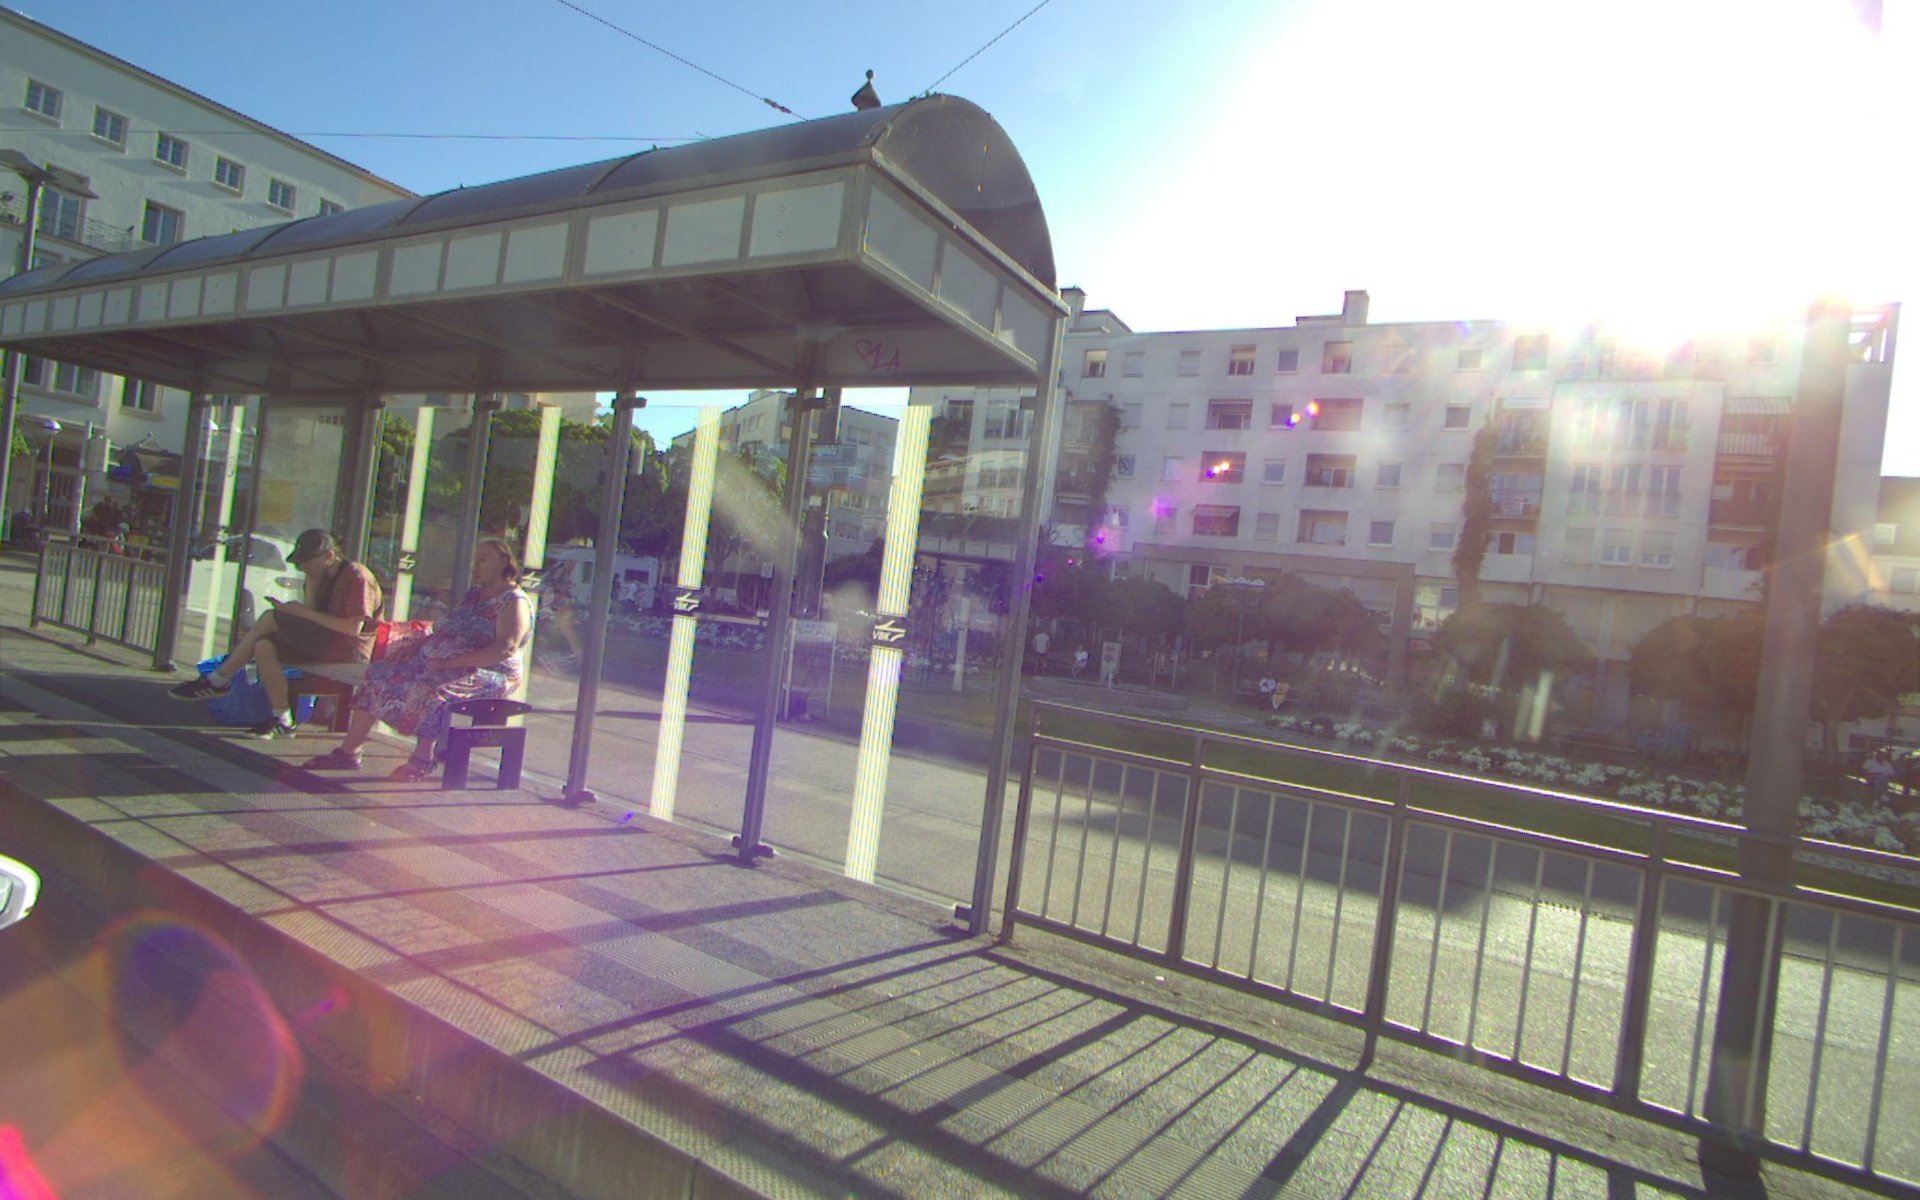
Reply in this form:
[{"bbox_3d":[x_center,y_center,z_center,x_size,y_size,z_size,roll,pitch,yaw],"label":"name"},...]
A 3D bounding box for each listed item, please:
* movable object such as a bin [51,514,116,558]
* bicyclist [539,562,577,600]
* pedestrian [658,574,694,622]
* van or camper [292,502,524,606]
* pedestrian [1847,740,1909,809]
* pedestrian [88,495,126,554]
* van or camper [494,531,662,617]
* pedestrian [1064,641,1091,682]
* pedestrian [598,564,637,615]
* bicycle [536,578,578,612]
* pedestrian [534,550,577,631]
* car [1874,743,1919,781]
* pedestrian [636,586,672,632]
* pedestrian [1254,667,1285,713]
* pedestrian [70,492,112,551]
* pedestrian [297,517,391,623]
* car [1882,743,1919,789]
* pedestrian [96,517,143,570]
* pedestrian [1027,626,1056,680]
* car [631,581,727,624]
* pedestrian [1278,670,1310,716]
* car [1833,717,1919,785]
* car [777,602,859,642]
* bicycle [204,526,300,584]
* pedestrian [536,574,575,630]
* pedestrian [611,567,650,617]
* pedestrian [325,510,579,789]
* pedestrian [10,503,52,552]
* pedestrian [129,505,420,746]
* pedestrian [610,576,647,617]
[{"bbox_3d":[-28.130,-2.042,32.300,1.197,1.167,1.200,7,-1,32],"label":"movable object such as a bin"},{"bbox_3d":[-14.987,-0.697,37.496,0.937,1.239,0.933,8,-2,-6],"label":"bicyclist"},{"bbox_3d":[-10.261,-0.063,36.371,0.651,1.605,0.902,7,0,35],"label":"pedestrian"},{"bbox_3d":[-20.404,-1.614,37.680,2.331,2.780,7.132,9,0,32],"label":"van or camper"},{"bbox_3d":[21.664,4.100,23.764,0.923,1.428,1.521,7,-1,42],"label":"pedestrian"},{"bbox_3d":[-28.603,-2.541,33.738,0.649,1.861,0.653,7,0,35],"label":"pedestrian"},{"bbox_3d":[-16.486,-1.040,43.827,2.340,2.873,6.411,7,-1,35],"label":"van or camper"},{"bbox_3d":[4.078,2.119,34.831,0.718,1.287,1.042,7,0,11],"label":"pedestrian"},{"bbox_3d":[-12.141,-0.368,35.694,0.684,1.705,0.902,7,0,35],"label":"pedestrian"},{"bbox_3d":[-15.100,-0.174,37.739,0.708,1.073,2.323,8,-2,-5],"label":"bicycle"},{"bbox_3d":[-9.331,-0.222,23.219,0.520,1.765,0.557,6,-1,42],"label":"pedestrian"},{"bbox_3d":[39.785,6.786,40.639,3.941,1.303,1.993,7,-1,38],"label":"car"},{"bbox_3d":[-11.558,0.339,38.008,0.651,1.604,0.902,7,0,35],"label":"pedestrian"},{"bbox_3d":[9.616,2.789,31.275,0.718,1.287,0.745,7,0,11],"label":"pedestrian"},{"bbox_3d":[-29.427,-2.643,34.081,0.667,1.861,0.785,7,0,35],"label":"pedestrian"},{"bbox_3d":[-12.006,-0.582,19.625,1.110,1.900,0.983,6,-1,29],"label":"pedestrian"},{"bbox_3d":[36.590,6.335,36.775,3.941,1.535,1.993,7,-1,38],"label":"car"},{"bbox_3d":[-25.213,-1.696,30.178,0.742,1.427,0.731,11,1,32],"label":"pedestrian"},{"bbox_3d":[2.817,1.826,34.681,0.661,1.745,1.028,7,0,11],"label":"pedestrian"},{"bbox_3d":[-13.881,0.132,49.834,1.974,1.529,3.982,6,-3,43],"label":"car"},{"bbox_3d":[10.327,2.862,31.131,0.718,1.287,0.745,7,0,11],"label":"pedestrian"},{"bbox_3d":[43.926,7.094,45.230,6.284,2.585,2.813,7,-1,26],"label":"car"},{"bbox_3d":[-6.720,1.075,47.897,1.964,1.503,4.000,7,-1,23],"label":"car"},{"bbox_3d":[-23.523,-1.475,33.477,0.714,1.548,2.391,7,-3,31],"label":"bicycle"},{"bbox_3d":[-9.110,0.052,22.662,0.550,1.182,0.469,6,-2,40],"label":"pedestrian"},{"bbox_3d":[-11.341,-0.264,34.606,0.651,1.605,0.902,7,0,35],"label":"pedestrian"},{"bbox_3d":[-2.718,0.285,5.441,0.613,1.348,0.861,6,-4,31],"label":"pedestrian"},{"bbox_3d":[-27.943,-2.174,30.272,0.736,1.332,0.622,7,0,-35],"label":"pedestrian"},{"bbox_3d":[-4.054,0.170,5.996,0.908,1.238,1.001,6,-4,32],"label":"pedestrian"},{"bbox_3d":[-11.634,-0.110,35.321,0.595,1.295,0.902,7,0,36],"label":"pedestrian"}]
